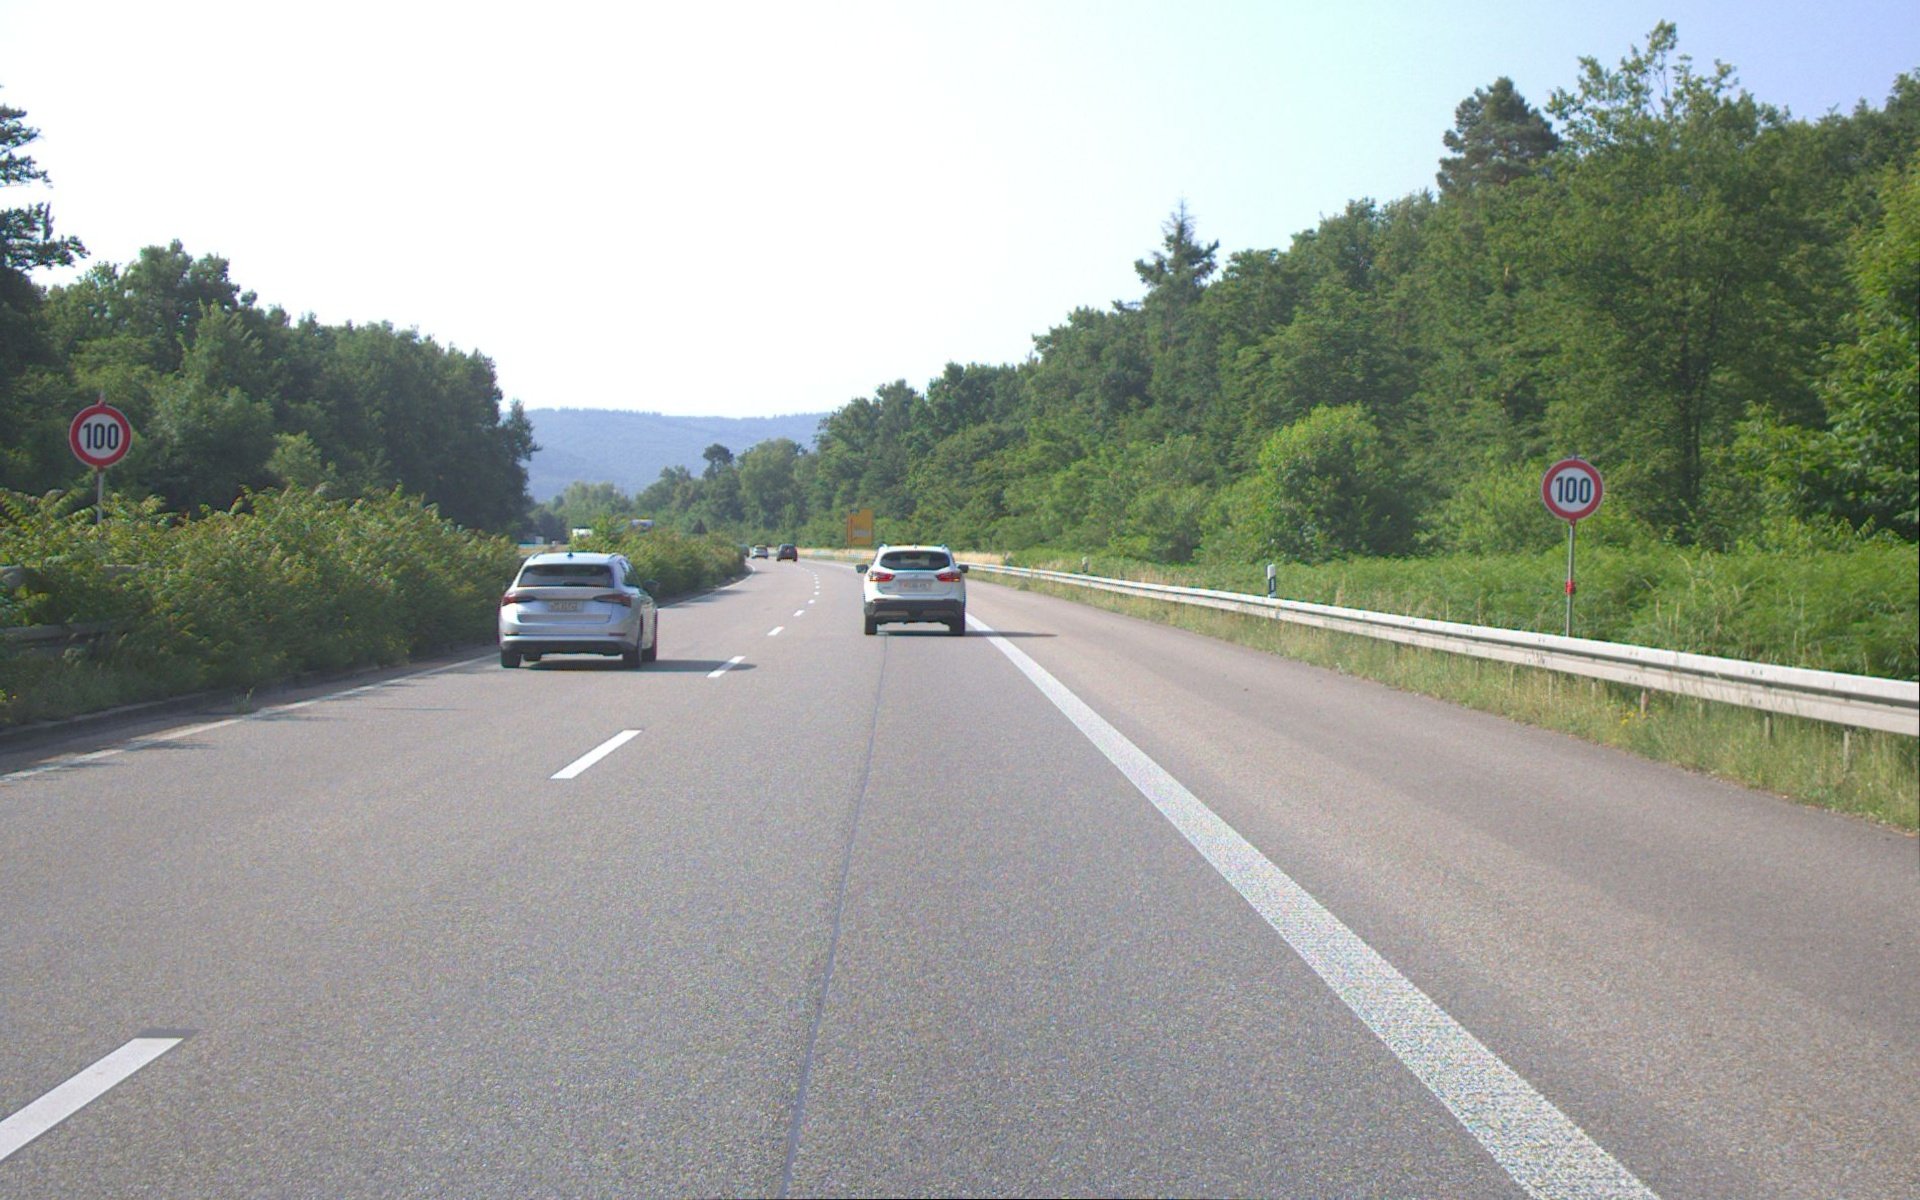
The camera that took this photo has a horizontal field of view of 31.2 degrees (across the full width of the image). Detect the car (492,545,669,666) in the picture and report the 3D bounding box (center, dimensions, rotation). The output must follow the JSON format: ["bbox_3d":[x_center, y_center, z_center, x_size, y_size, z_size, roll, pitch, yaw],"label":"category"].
[{"bbox_3d":[-4.872,0.025,44.773,1.792,1.433,5.279,0,1,-1],"label":"car"}]

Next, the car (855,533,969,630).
[{"bbox_3d":[-0.896,-0.361,61.740,1.873,1.581,4.001,2,1,-3],"label":"car"}]
